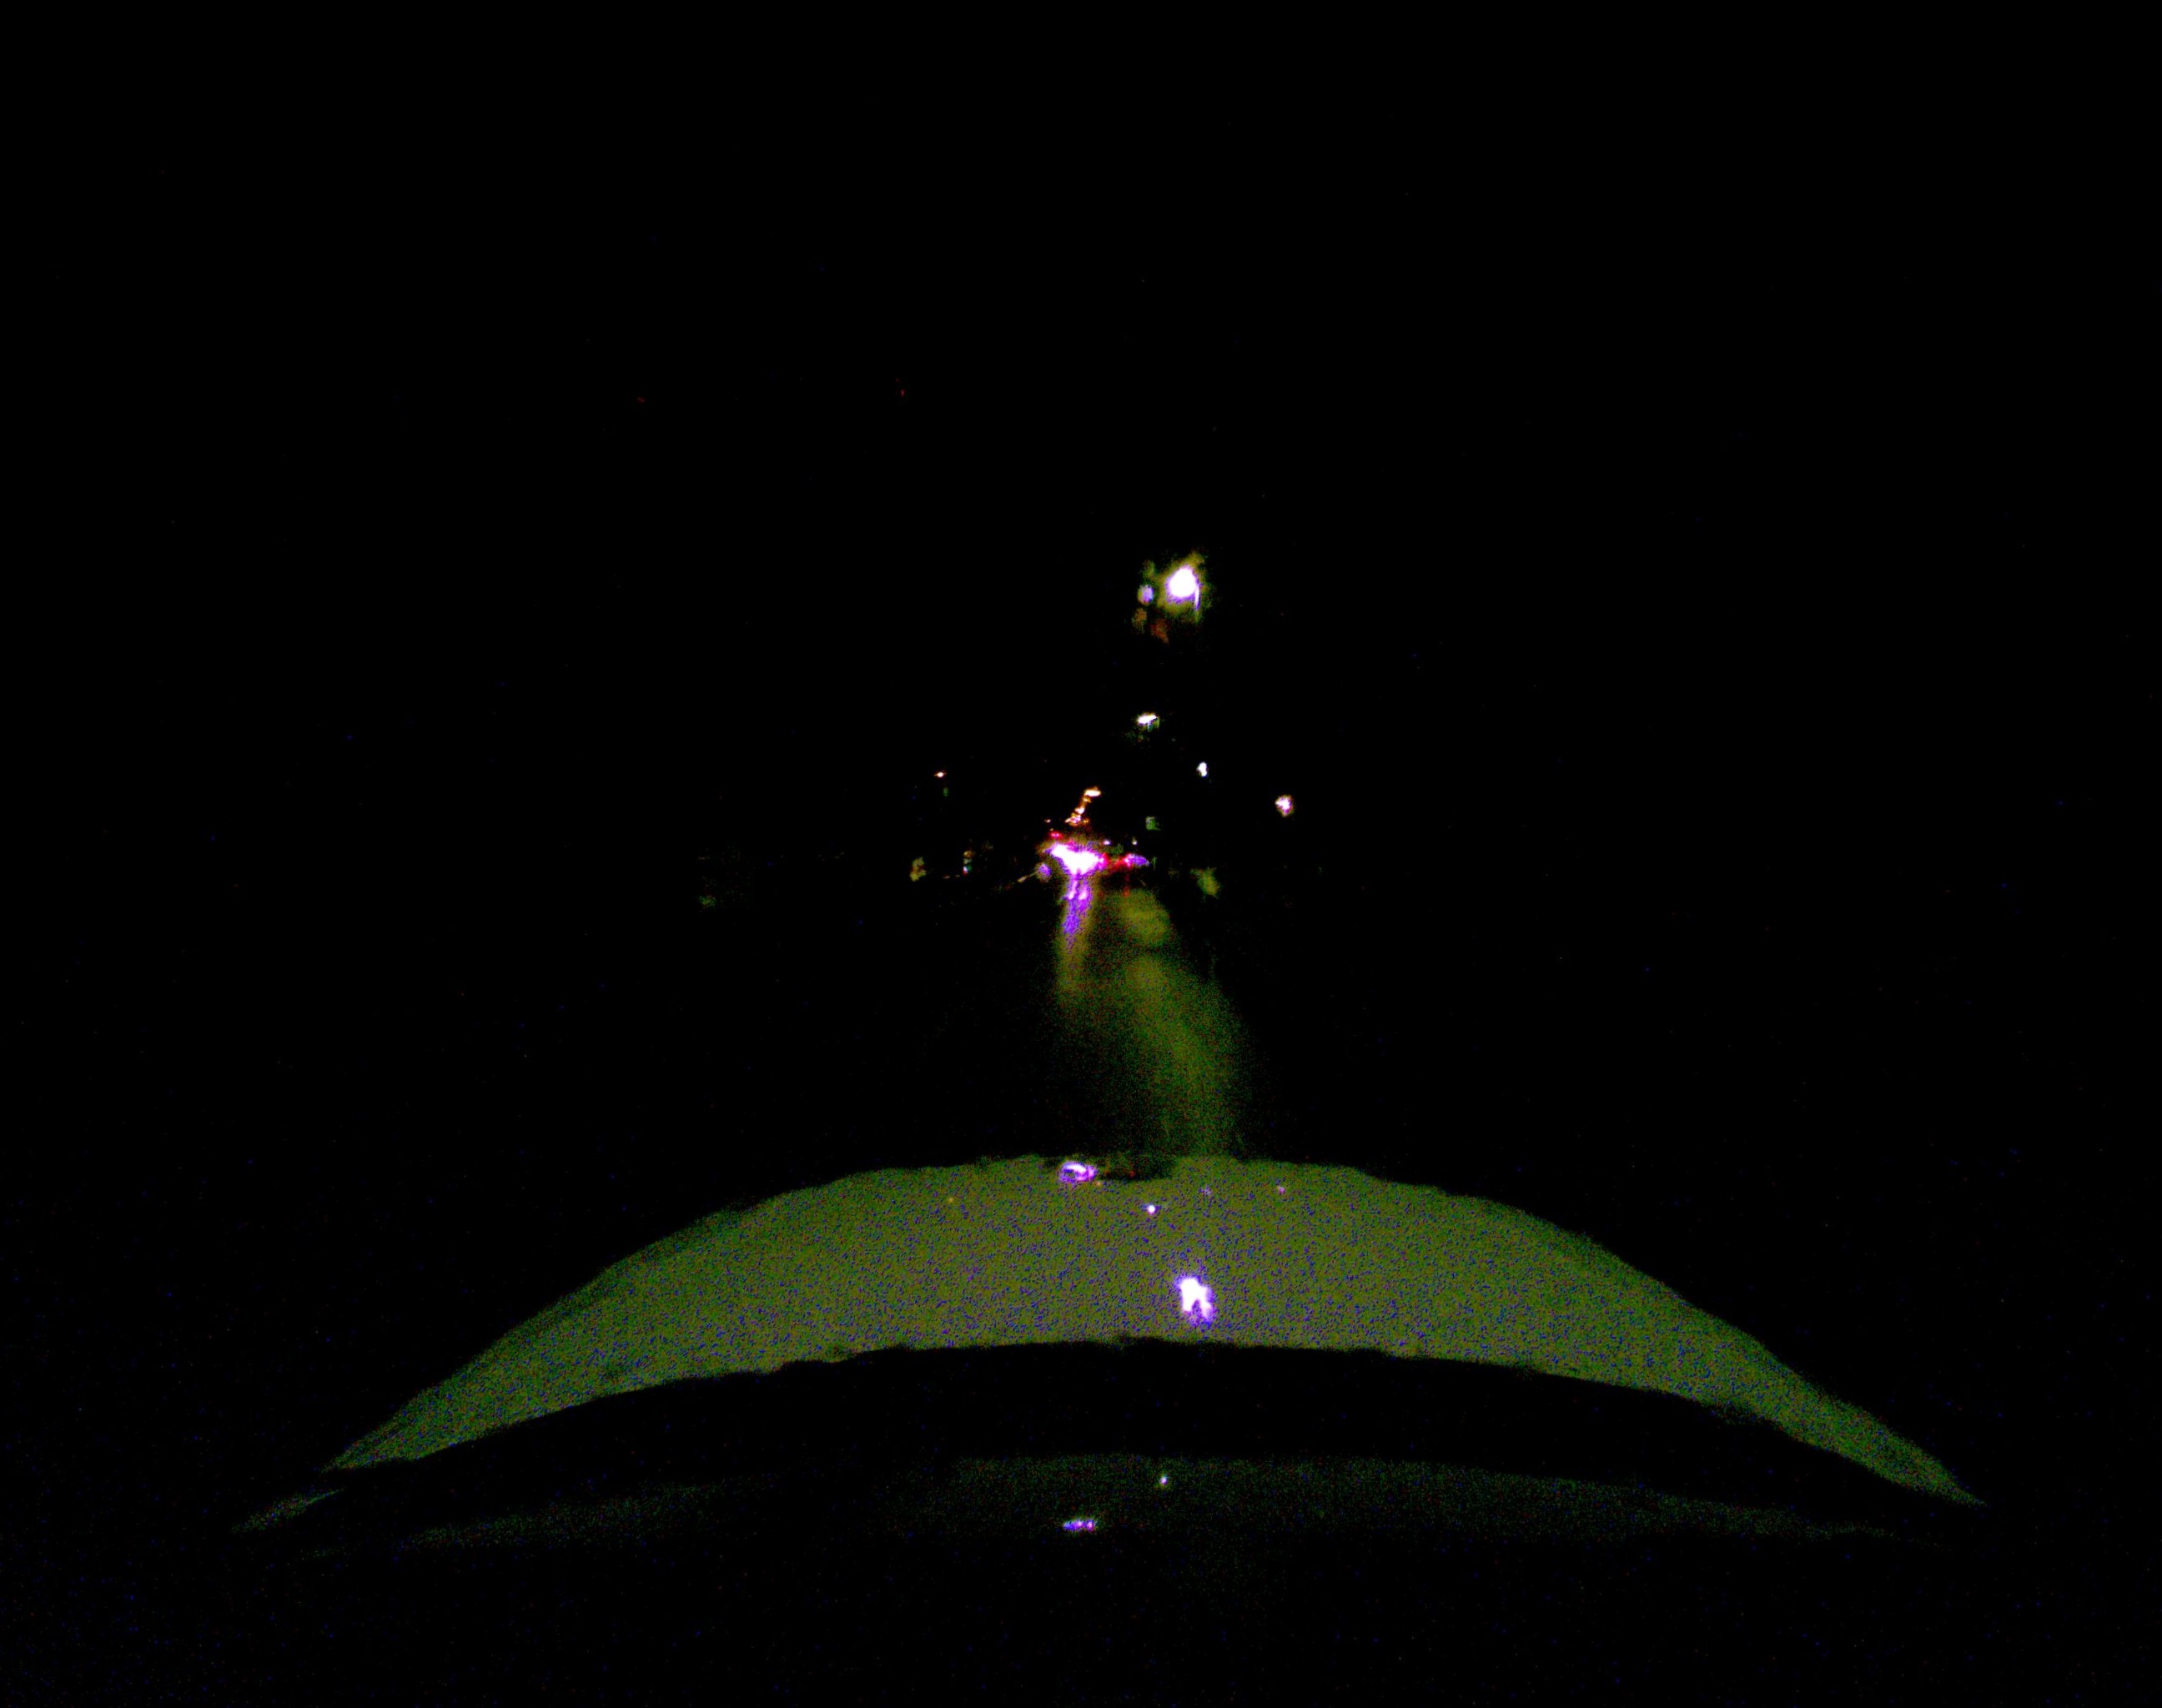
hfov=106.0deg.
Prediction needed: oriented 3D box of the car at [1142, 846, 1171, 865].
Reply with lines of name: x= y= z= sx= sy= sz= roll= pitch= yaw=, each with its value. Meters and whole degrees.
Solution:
car: x=6.319 y=0.090 z=68.498 sx=1.785 sy=1.449 sz=4.788 roll=-3 pitch=1 yaw=-2

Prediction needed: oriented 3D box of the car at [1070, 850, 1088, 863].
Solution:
car: x=-0.200 y=0.261 z=92.389 sx=1.738 sy=1.433 sz=4.003 roll=-2 pitch=0 yaw=3

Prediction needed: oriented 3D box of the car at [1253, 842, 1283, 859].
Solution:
car: x=18.121 y=-0.407 z=78.998 sx=1.823 sy=1.547 sz=4.868 roll=-2 pitch=1 yaw=1

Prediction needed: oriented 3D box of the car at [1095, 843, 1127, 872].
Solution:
car: x=1.955 y=0.190 z=53.399 sx=1.986 sy=1.683 sz=4.003 roll=-1 pitch=2 yaw=2

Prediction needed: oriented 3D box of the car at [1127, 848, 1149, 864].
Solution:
car: x=5.557 y=0.204 z=79.507 sx=1.708 sy=1.488 sz=4.434 roll=-2 pitch=0 yaw=-1

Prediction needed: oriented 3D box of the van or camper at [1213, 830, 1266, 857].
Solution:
van or camper: x=16.190 y=-1.057 z=83.411 sx=5.042 sy=2.527 sz=2.173 roll=-2 pitch=1 yaw=2
